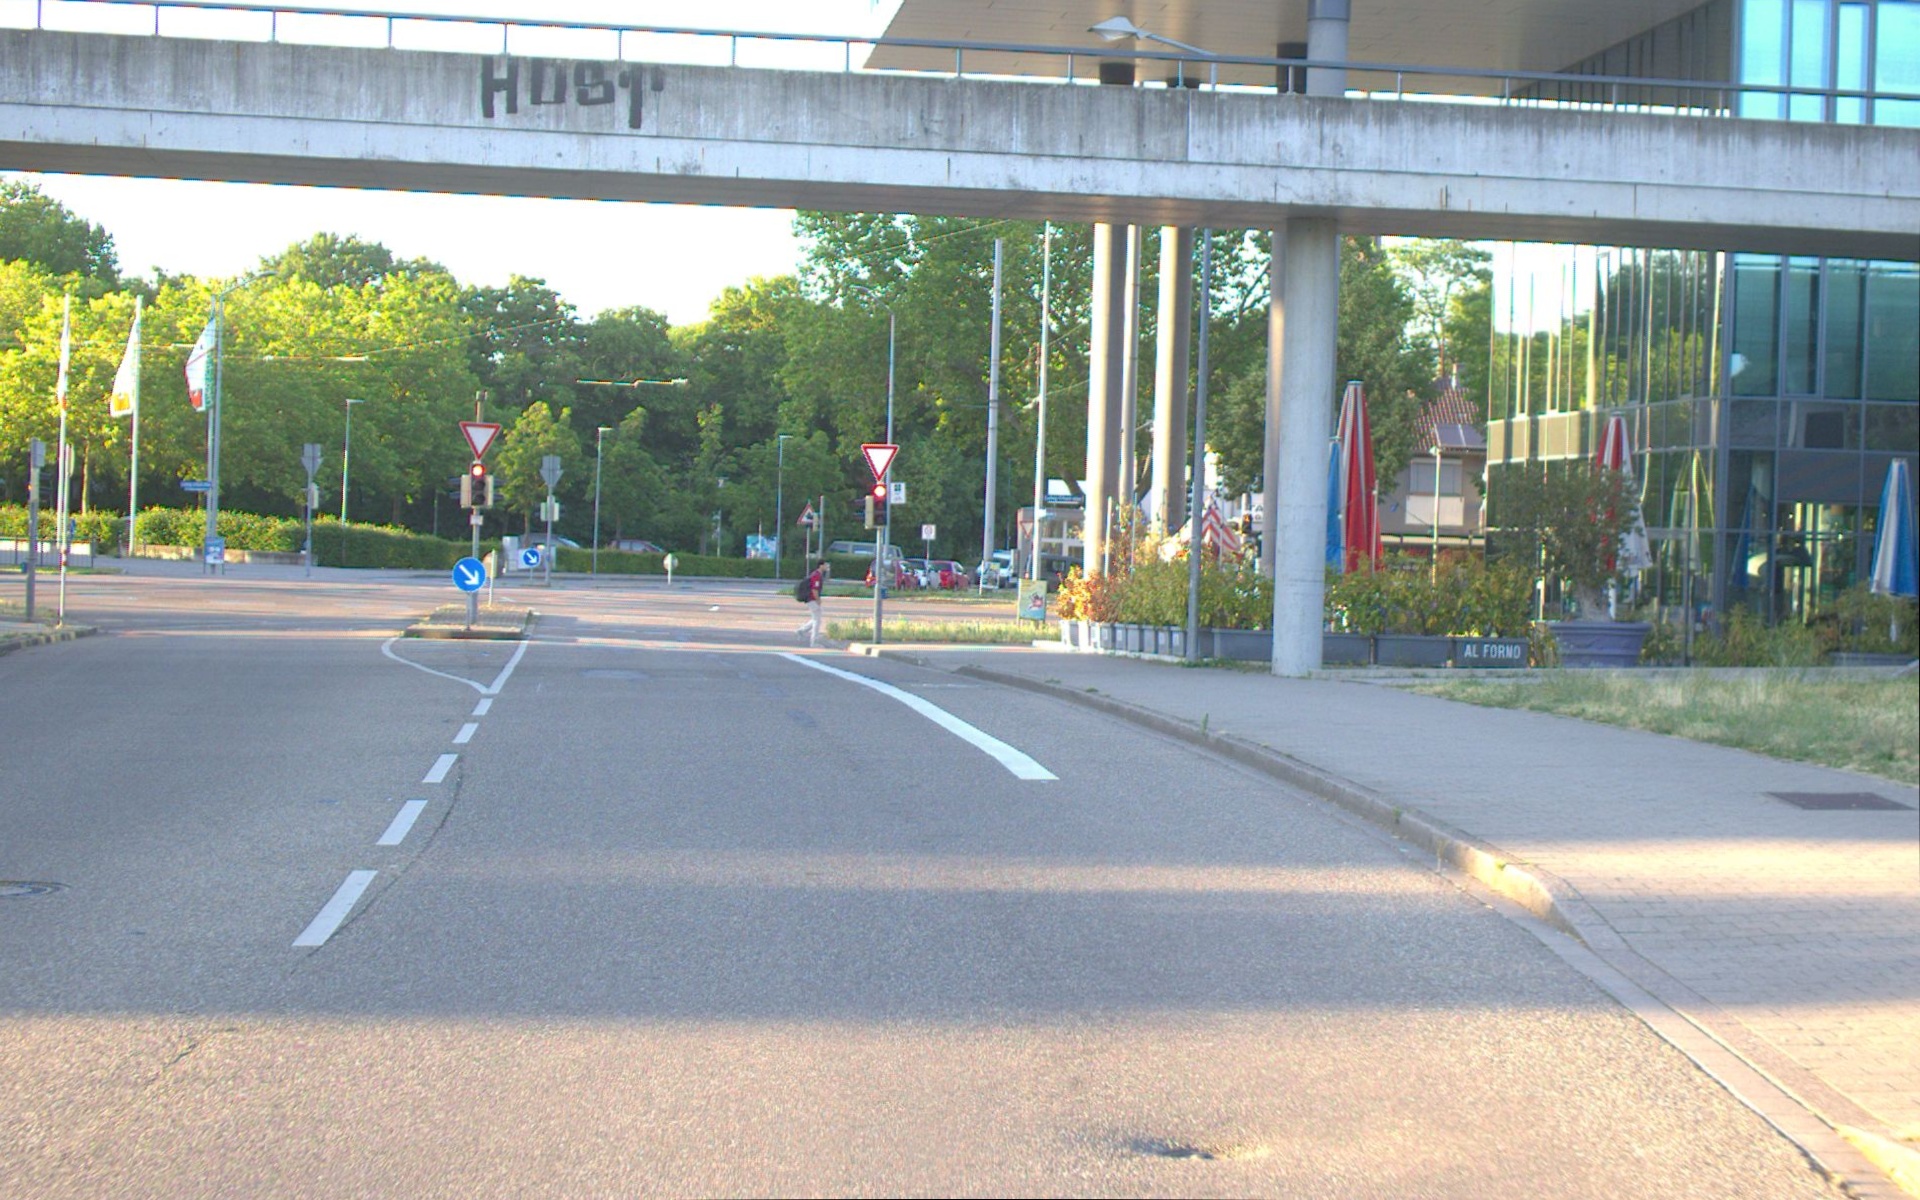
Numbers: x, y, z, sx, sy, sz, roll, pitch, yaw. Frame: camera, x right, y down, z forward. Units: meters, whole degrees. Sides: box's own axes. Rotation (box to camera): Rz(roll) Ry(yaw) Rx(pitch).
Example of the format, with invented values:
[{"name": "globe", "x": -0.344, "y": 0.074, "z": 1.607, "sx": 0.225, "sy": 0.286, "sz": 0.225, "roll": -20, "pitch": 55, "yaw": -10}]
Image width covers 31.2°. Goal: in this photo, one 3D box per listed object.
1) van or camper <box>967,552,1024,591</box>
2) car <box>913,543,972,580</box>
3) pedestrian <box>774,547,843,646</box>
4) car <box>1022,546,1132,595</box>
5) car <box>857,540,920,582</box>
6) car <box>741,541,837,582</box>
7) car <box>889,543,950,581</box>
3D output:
[{"name": "van or camper", "x": 1.910, "y": -1.555, "z": 184.851, "sx": 1.627, "sy": 1.975, "sz": 3.802, "roll": 3, "pitch": 2, "yaw": 24}, {"name": "car", "x": -0.795, "y": -1.774, "z": 156.511, "sx": 1.499, "sy": 1.600, "sz": 3.399, "roll": 3, "pitch": 2, "yaw": 21}, {"name": "pedestrian", "x": -2.902, "y": -0.072, "z": 65.672, "sx": 1.053, "sy": 1.827, "sz": 0.895, "roll": 1, "pitch": 2, "yaw": -19}, {"name": "car", "x": 4.847, "y": -1.224, "z": 142.852, "sx": 4.467, "sy": 1.810, "sz": 1.945, "roll": 2, "pitch": 2, "yaw": 0}, {"name": "car", "x": -3.101, "y": -1.700, "z": 149.263, "sx": 1.499, "sy": 1.754, "sz": 3.399, "roll": 3, "pitch": 2, "yaw": 21}, {"name": "car", "x": -8.736, "y": -1.975, "z": 175.649, "sx": 4.684, "sy": 1.862, "sz": 2.013, "roll": 2, "pitch": 2, "yaw": 1}, {"name": "car", "x": -1.779, "y": -1.720, "z": 153.078, "sx": 1.499, "sy": 1.600, "sz": 3.399, "roll": 3, "pitch": 2, "yaw": 21}]
